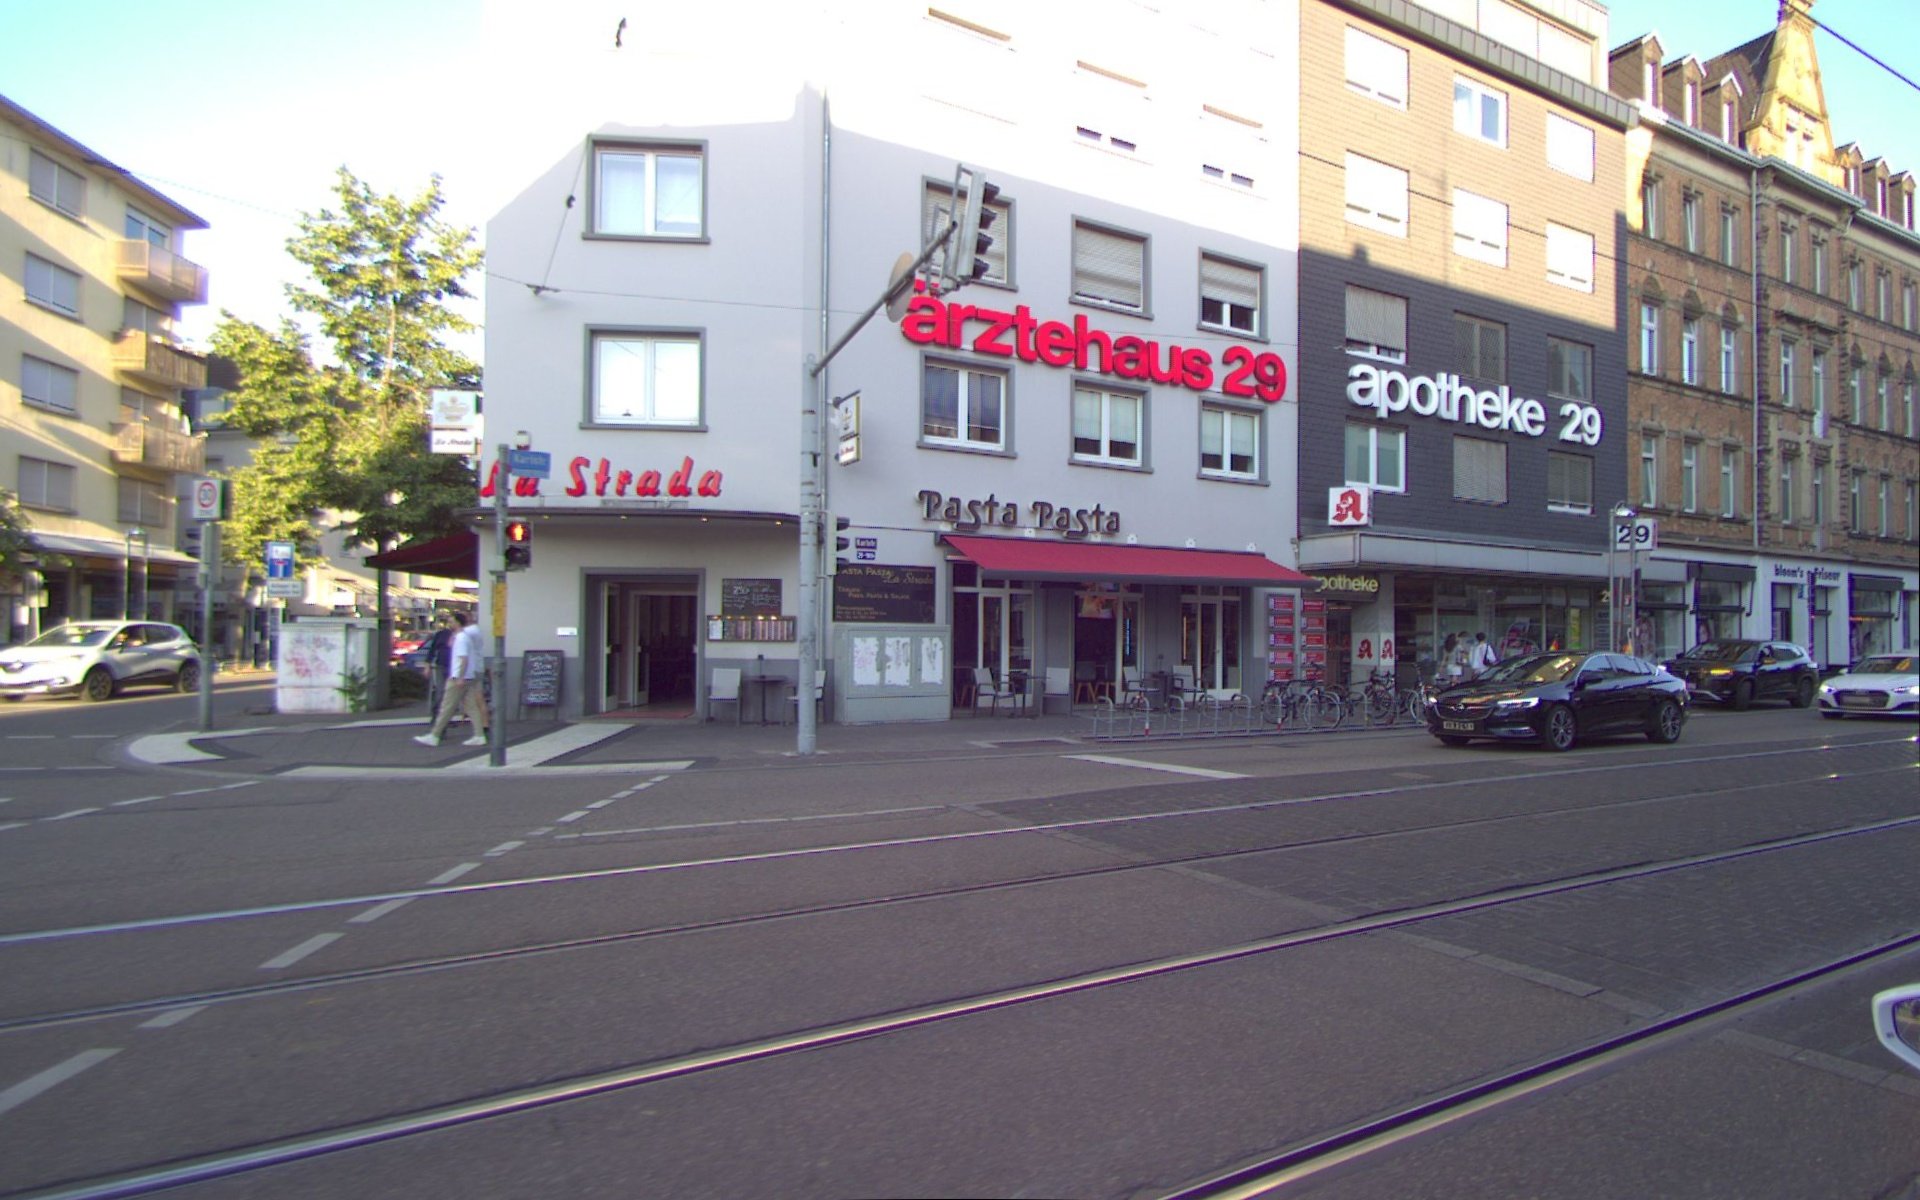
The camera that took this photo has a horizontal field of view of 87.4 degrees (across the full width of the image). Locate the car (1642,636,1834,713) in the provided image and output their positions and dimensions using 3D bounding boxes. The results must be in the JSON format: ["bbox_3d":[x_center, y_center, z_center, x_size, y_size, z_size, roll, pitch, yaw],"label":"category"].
[{"bbox_3d":[19.027,1.754,24.556,4.585,1.697,1.924,1,-1,-26],"label":"car"}]

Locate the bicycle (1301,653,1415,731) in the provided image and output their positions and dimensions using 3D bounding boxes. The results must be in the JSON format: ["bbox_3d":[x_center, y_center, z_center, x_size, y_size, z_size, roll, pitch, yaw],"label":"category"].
[{"bbox_3d":[7.371,1.674,18.713,0.546,1.240,2.103,1,0,-28],"label":"bicycle"}]

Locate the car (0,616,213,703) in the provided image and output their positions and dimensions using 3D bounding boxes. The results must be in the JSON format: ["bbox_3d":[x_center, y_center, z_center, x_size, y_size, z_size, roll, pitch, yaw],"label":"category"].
[{"bbox_3d":[-17.590,1.186,20.434,2.075,1.577,4.010,0,-2,-6],"label":"car"}]

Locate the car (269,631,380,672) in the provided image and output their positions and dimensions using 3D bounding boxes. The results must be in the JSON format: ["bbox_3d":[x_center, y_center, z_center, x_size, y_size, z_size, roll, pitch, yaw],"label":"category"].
[{"bbox_3d":[-22.244,1.774,35.322,1.822,1.367,3.807,0,-2,-7],"label":"car"}]

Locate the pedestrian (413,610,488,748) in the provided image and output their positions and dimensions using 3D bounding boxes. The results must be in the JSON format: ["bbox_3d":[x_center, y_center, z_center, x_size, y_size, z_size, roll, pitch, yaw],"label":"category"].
[{"bbox_3d":[-6.688,1.029,13.217,0.656,1.767,0.638,1,-1,-6],"label":"pedestrian"}]

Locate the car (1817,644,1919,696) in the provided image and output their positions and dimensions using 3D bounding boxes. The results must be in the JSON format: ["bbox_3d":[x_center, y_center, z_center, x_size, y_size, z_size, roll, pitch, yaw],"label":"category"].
[{"bbox_3d":[28.553,2.104,30.840,4.552,1.472,1.862,2,-2,-28],"label":"car"}]

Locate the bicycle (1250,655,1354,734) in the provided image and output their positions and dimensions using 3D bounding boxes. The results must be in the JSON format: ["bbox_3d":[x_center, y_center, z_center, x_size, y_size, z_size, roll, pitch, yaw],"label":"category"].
[{"bbox_3d":[6.082,1.648,17.984,0.546,1.227,1.883,1,0,-28],"label":"bicycle"}]

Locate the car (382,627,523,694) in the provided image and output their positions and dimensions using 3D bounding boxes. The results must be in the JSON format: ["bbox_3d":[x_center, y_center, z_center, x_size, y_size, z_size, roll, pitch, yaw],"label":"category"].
[{"bbox_3d":[-11.976,1.392,23.959,1.613,1.463,3.606,1,-2,-2],"label":"car"}]

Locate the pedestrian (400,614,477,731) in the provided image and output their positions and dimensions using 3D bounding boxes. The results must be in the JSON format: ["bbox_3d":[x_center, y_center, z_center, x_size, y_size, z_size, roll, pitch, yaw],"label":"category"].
[{"bbox_3d":[-7.846,1.074,15.131,0.689,1.698,0.714,0,-1,16],"label":"pedestrian"}]

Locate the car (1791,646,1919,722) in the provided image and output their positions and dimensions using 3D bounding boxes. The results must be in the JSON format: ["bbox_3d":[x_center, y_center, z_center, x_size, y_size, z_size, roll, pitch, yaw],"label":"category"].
[{"bbox_3d":[20.146,1.734,21.560,4.598,1.472,1.986,2,-2,-28],"label":"car"}]

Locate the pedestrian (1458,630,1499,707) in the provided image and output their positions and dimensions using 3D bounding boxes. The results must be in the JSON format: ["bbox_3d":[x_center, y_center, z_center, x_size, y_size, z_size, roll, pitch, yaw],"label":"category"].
[{"bbox_3d":[11.864,1.562,22.995,0.595,1.722,0.618,1,-1,-28],"label":"pedestrian"}]

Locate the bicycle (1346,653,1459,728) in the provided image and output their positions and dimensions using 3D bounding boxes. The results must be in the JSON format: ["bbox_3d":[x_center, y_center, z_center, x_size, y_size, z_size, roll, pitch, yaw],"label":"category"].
[{"bbox_3d":[8.537,1.715,19.466,0.546,1.240,2.103,1,0,-28],"label":"bicycle"}]

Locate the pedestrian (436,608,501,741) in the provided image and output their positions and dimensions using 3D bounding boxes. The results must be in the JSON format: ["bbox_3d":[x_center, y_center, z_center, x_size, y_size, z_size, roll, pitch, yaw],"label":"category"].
[{"bbox_3d":[-6.786,1.017,13.895,0.589,1.802,0.638,1,-1,-6],"label":"pedestrian"}]

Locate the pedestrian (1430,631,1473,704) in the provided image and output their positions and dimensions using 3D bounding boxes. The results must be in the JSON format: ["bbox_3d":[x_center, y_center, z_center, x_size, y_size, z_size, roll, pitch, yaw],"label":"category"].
[{"bbox_3d":[11.575,1.580,23.657,0.616,1.683,0.679,1,-1,-28],"label":"pedestrian"}]

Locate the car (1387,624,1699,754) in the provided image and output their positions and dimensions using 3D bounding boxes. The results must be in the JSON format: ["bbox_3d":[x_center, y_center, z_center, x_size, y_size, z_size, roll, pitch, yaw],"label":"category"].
[{"bbox_3d":[9.060,1.314,15.570,4.667,1.750,1.987,2,-4,-28],"label":"car"}]

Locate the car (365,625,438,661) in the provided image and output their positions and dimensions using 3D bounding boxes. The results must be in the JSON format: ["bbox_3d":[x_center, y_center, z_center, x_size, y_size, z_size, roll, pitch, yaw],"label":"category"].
[{"bbox_3d":[-25.393,1.944,45.802,1.638,1.574,3.494,1,-2,-6],"label":"car"}]
